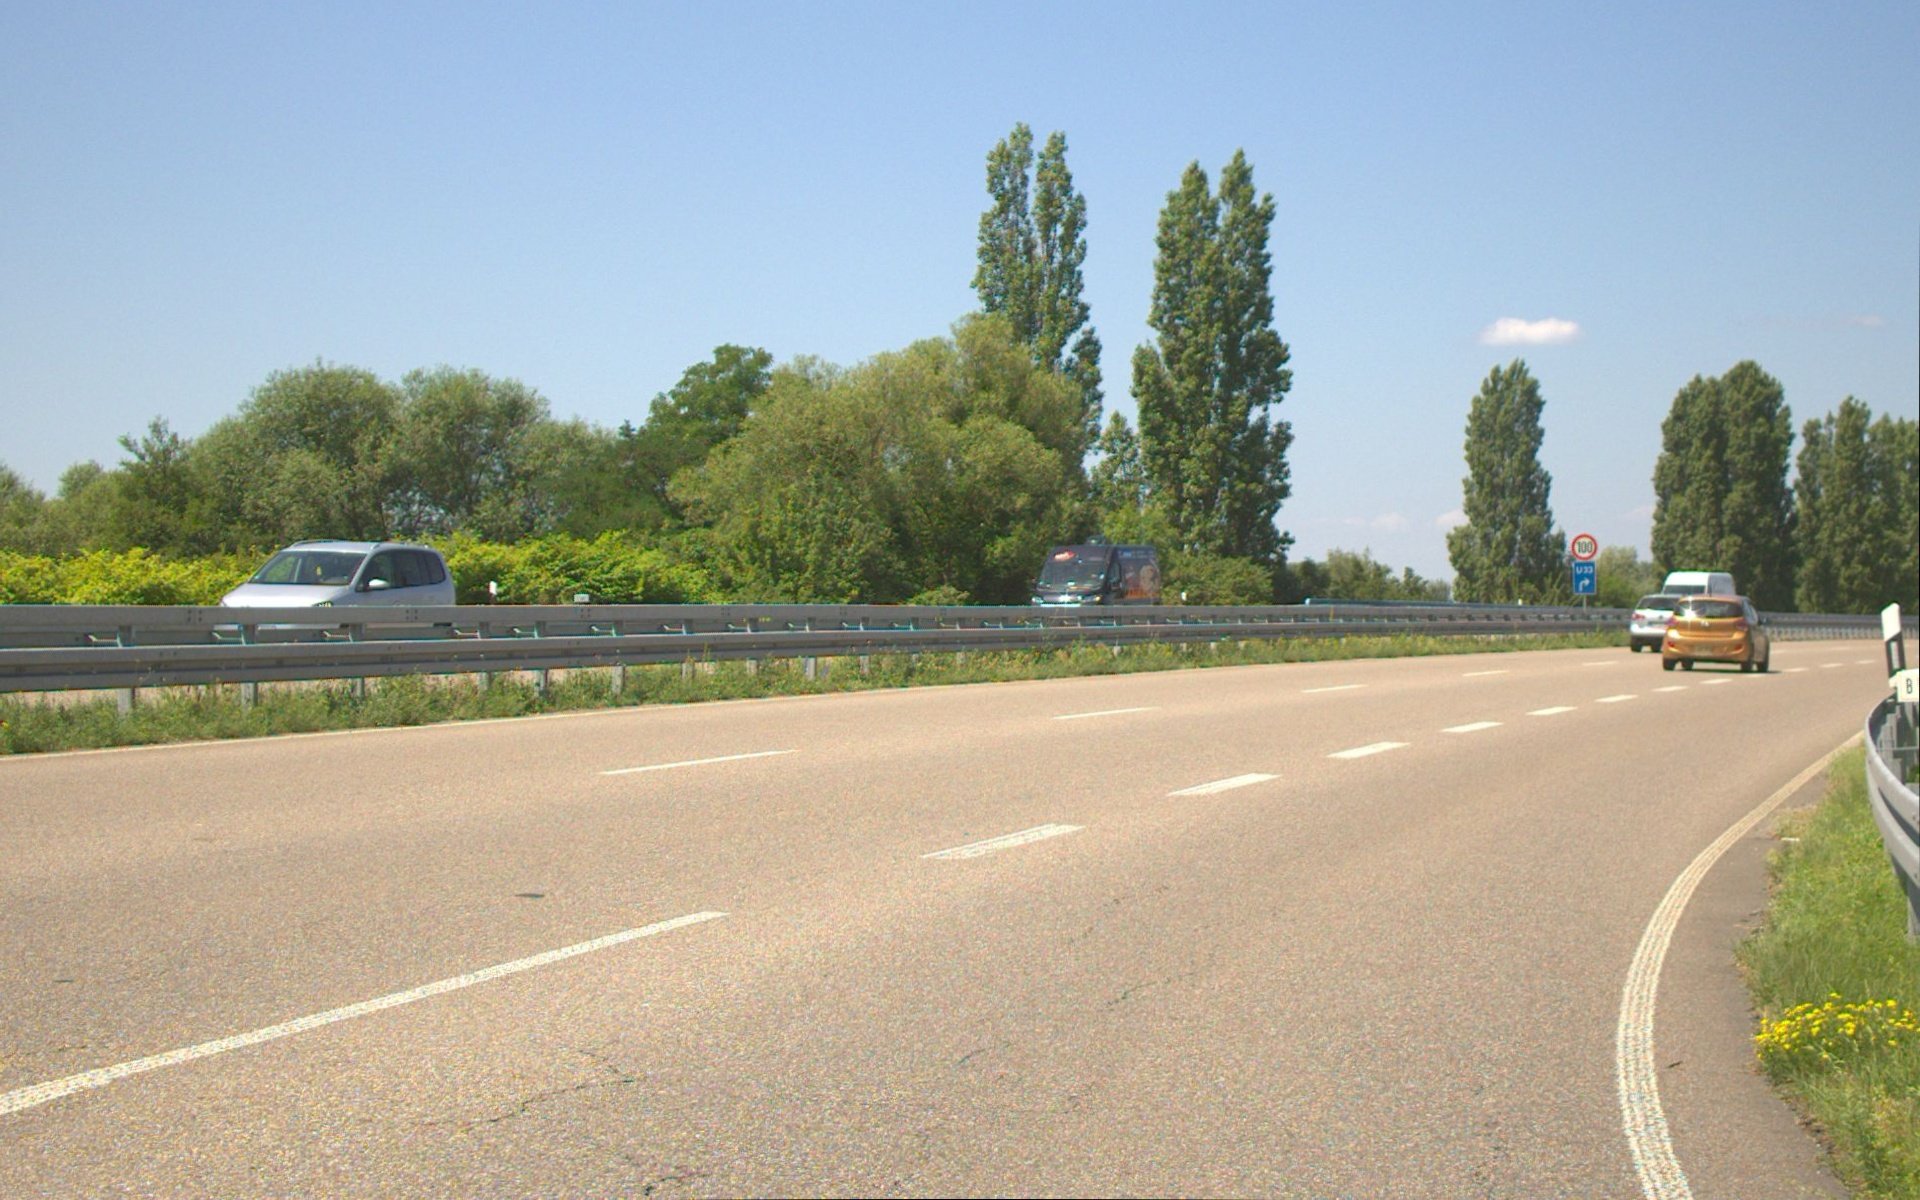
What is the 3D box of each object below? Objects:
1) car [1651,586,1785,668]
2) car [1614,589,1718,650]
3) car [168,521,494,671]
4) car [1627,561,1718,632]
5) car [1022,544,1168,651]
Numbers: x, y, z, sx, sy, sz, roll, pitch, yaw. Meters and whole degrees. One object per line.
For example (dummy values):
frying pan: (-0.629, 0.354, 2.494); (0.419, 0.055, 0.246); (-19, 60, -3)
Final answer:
car: (14.662, 0.494, 66.344); (1.843, 1.459, 3.995); (2, 1, 22)
car: (17.851, 0.470, 86.859); (1.843, 1.446, 3.995); (2, 1, 22)
car: (-8.306, -0.017, 45.901); (2.206, 1.886, 4.907); (1, -1, 18)
car: (29.203, -0.114, 140.706); (2.282, 2.764, 7.213); (0, -1, 23)
car: (3.525, -0.029, 88.776); (2.206, 2.629, 5.620); (1, -1, 19)
